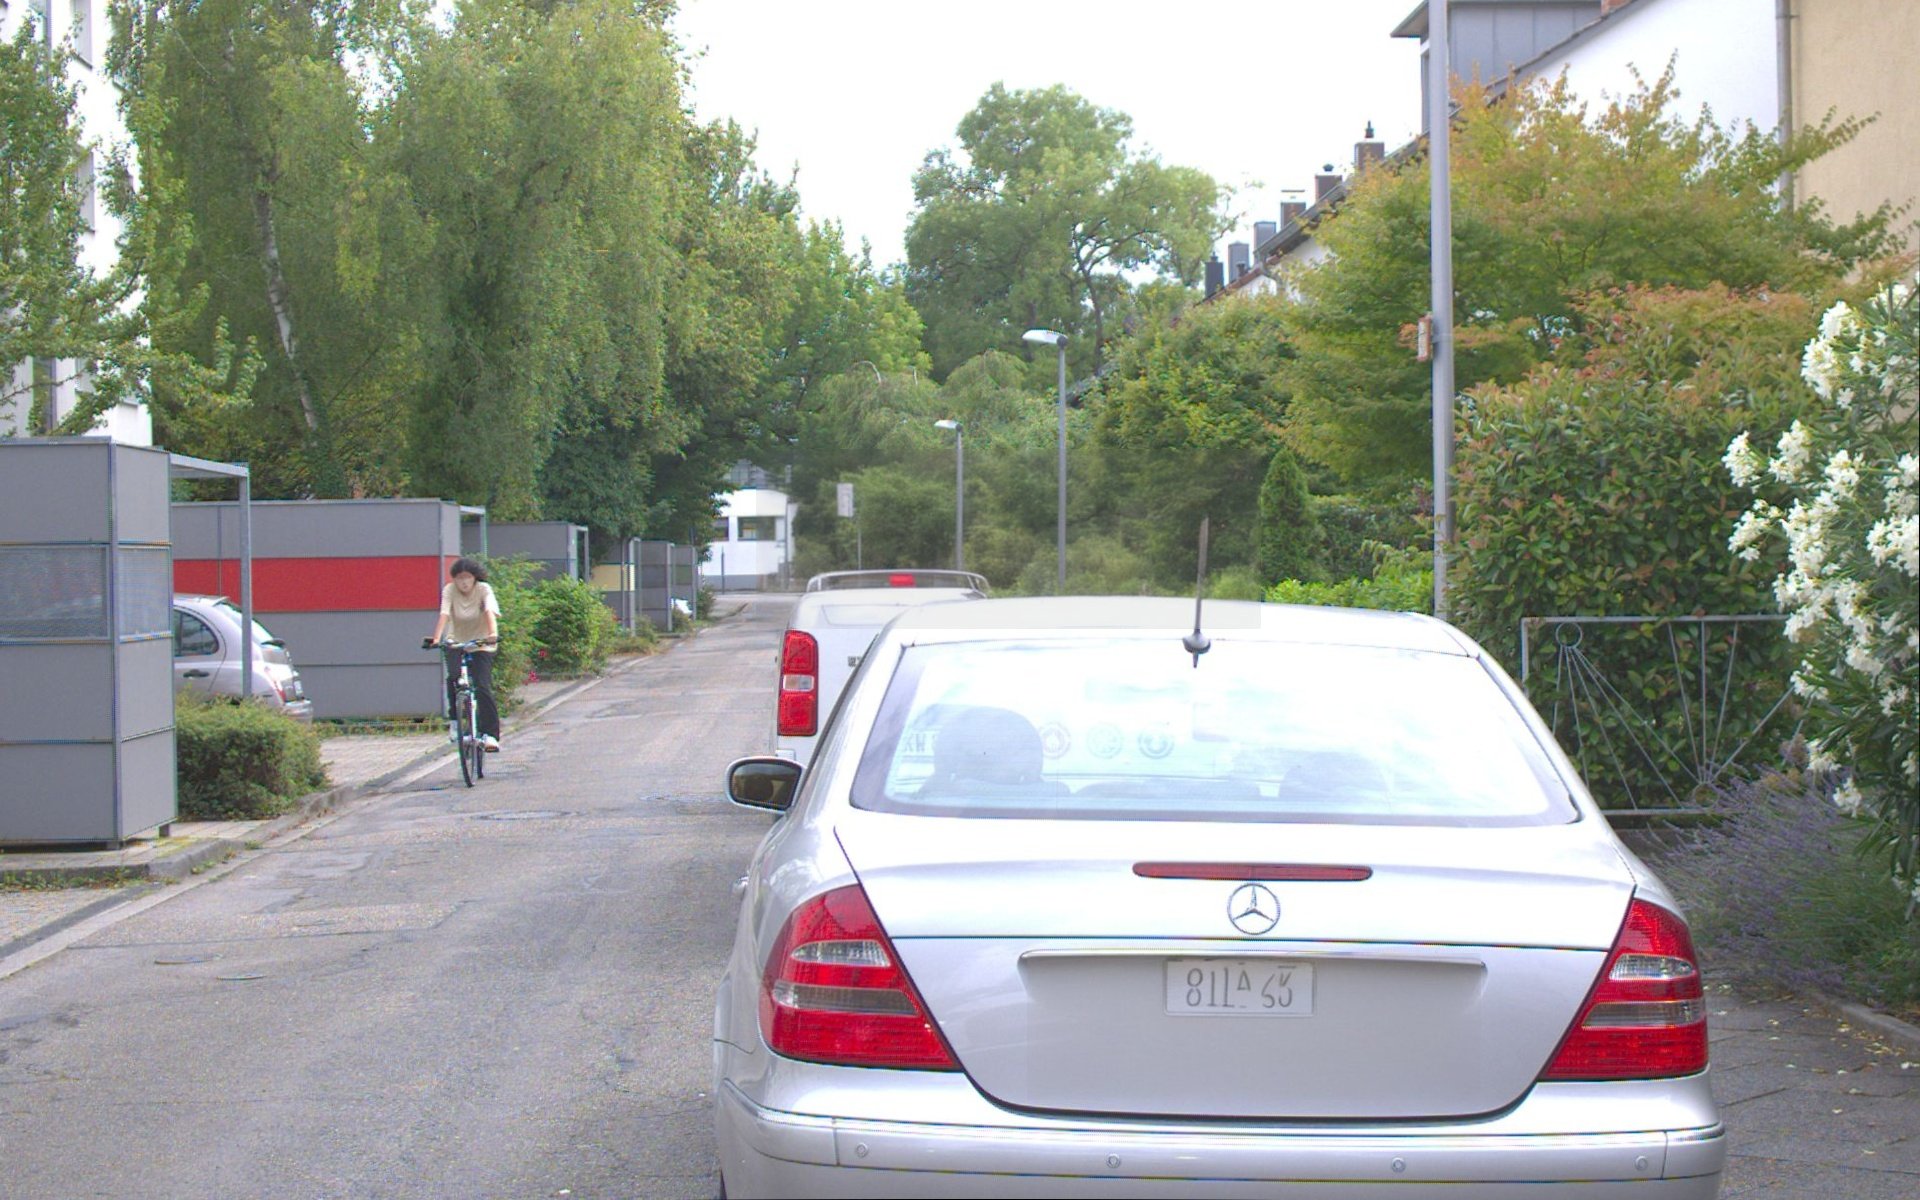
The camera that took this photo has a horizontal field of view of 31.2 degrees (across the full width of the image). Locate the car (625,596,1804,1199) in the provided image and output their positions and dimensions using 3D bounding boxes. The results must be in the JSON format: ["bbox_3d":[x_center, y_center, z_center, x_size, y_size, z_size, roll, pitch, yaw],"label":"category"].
[{"bbox_3d":[0.362,0.725,7.448,1.783,1.416,4.455,1,1,-1],"label":"car"}]

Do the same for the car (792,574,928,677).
[{"bbox_3d":[-1.425,0.332,49.143,1.825,1.365,4.331,1,1,-2],"label":"car"}]

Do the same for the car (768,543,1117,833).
[{"bbox_3d":[-0.211,0.479,21.481,1.824,1.630,4.163,0,1,-5],"label":"car"}]

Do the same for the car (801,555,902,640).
[{"bbox_3d":[-2.157,-0.069,67.484,1.825,1.576,4.001,1,1,-4],"label":"car"}]

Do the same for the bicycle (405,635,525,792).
[{"bbox_3d":[-3.716,0.832,25.939,0.597,1.072,2.042,-2,1,-1],"label":"bicycle"}]

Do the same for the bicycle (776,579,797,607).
[{"bbox_3d":[-7.142,-0.296,141.545,0.689,1.127,2.579,1,0,0],"label":"bicycle"}]

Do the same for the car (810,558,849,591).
[{"bbox_3d":[-6.264,-1.234,165.301,1.825,1.576,4.000,1,1,-2],"label":"car"}]

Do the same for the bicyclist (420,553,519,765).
[{"bbox_3d":[-3.732,0.439,26.198,0.597,1.575,0.767,-2,0,-1],"label":"bicyclist"}]

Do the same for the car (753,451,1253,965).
[{"bbox_3d":[0.041,0.393,15.818,1.903,1.958,5.254,1,1,-3],"label":"car"}]

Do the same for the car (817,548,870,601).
[{"bbox_3d":[-4.205,-0.933,124.406,1.825,1.877,4.000,1,1,-2],"label":"car"}]

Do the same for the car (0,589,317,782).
[{"bbox_3d":[-7.300,0.711,28.878,3.561,1.475,1.711,-2,1,-6],"label":"car"}]

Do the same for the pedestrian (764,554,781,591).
[{"bbox_3d":[-9.237,-1.357,169.282,0.777,1.799,0.548,1,0,-3],"label":"pedestrian"}]

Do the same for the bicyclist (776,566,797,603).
[{"bbox_3d":[-7.137,-0.633,141.474,0.798,1.506,0.934,1,0,0],"label":"bicyclist"}]
